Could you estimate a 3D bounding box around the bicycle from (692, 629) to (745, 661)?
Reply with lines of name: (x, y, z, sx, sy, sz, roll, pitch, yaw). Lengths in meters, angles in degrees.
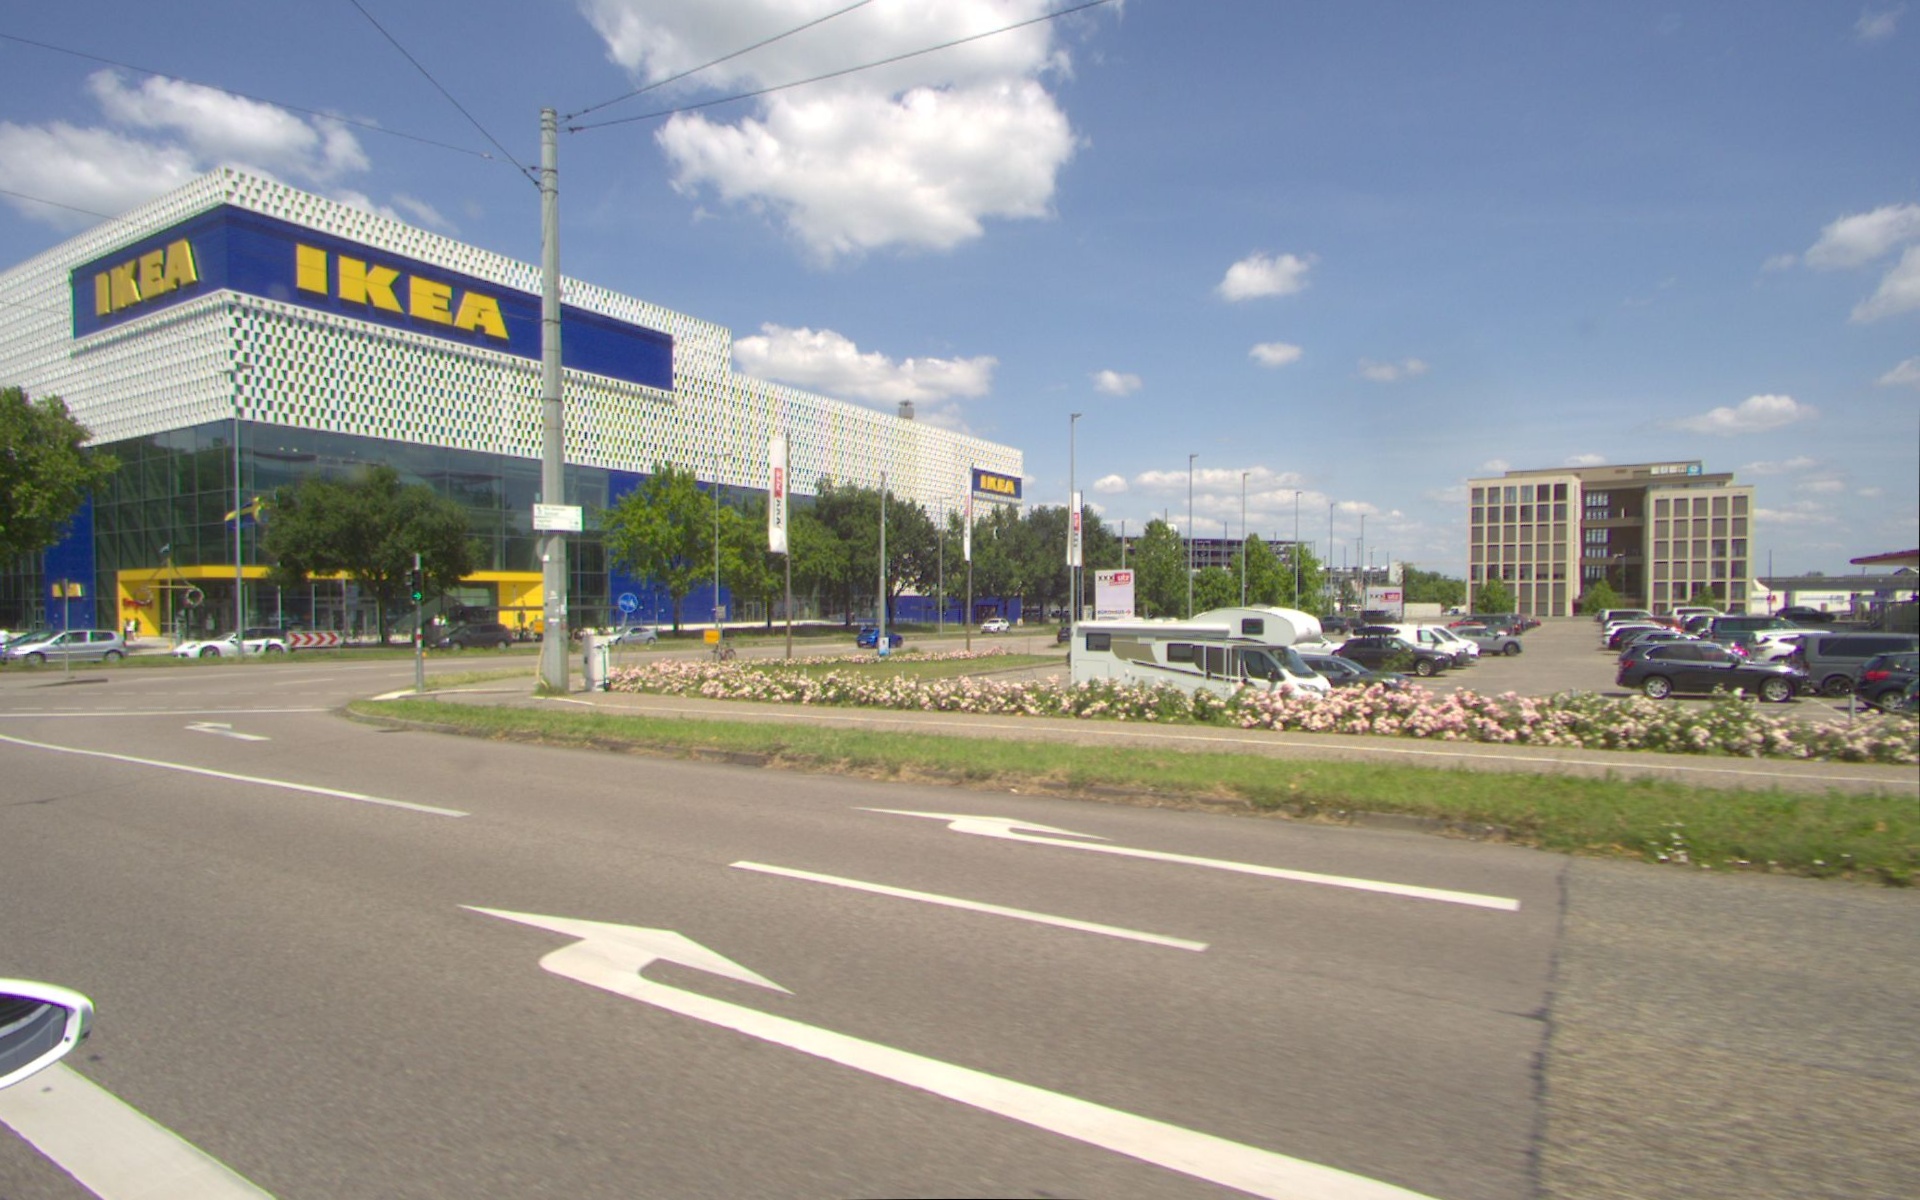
bicycle: (-11.604, 2.160, 48.204, 0.975, 1.500, 2.415, 0, -1, 36)

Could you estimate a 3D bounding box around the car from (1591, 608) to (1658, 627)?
car: (59.135, 1.580, 89.224, 4.929, 1.631, 1.990, -1, -1, 32)

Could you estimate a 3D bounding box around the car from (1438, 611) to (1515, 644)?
car: (38.169, 2.027, 73.994, 4.929, 2.333, 1.990, -1, -1, 32)

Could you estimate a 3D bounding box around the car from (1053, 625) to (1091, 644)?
car: (9.661, 2.933, 86.423, 1.740, 1.546, 4.080, 0, -1, 31)

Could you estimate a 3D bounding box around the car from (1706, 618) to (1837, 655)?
car: (42.890, 1.911, 53.074, 5.105, 1.889, 1.991, -1, -1, 30)

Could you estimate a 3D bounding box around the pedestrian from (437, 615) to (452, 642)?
pedestrian: (-38.572, 2.126, 74.896, 0.813, 2.040, 0.709, 0, -1, 34)

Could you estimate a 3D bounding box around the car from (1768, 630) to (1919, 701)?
car: (28.056, 1.939, 30.251, 5.455, 2.039, 1.990, -1, -1, 32)

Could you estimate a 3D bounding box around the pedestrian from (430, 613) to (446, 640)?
pedestrian: (-39.392, 1.995, 75.550, 0.813, 2.040, 0.709, 0, -1, 34)

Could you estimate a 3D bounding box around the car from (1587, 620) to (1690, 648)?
car: (39.733, 1.980, 58.813, 4.929, 1.631, 1.990, -1, -1, 32)

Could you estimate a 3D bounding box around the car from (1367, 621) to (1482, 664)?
car: (22.681, 2.029, 48.983, 4.929, 2.033, 1.990, -1, -1, 32)

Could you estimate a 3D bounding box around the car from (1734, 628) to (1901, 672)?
car: (34.925, 2.006, 40.982, 4.929, 1.672, 1.990, -1, -1, 32)

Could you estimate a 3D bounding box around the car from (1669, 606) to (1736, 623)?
car: (69.772, 1.377, 94.195, 4.929, 1.631, 1.990, -1, -1, 32)

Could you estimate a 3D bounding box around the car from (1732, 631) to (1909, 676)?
car: (33.153, 2.033, 38.800, 4.929, 1.631, 1.990, -1, -1, 32)

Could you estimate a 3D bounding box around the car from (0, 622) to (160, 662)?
car: (-35.201, 1.697, 40.159, 1.973, 1.505, 4.486, 0, -2, 35)

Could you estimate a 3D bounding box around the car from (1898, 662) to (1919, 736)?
car: (23.680, 2.247, 21.924, 4.241, 1.517, 1.988, -1, 2, 32)

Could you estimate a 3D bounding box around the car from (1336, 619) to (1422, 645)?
car: (26.605, 2.010, 63.592, 4.921, 1.631, 1.993, 0, -1, 27)

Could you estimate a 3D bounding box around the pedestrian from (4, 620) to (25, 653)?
pedestrian: (-48.854, 1.882, 51.741, 0.699, 1.656, 0.607, 1, -1, -39)

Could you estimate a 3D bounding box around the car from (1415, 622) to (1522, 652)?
car: (28.081, 2.047, 55.390, 4.903, 1.631, 2.001, 0, -1, 2)

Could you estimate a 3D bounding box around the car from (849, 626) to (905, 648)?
car: (-5.915, 2.649, 71.749, 1.818, 1.473, 3.978, 0, -2, 35)

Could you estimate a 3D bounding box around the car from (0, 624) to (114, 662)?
car: (-37.994, 1.783, 41.734, 1.973, 1.505, 3.780, 0, -2, 35)

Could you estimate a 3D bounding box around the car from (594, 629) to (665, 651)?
car: (-23.365, 2.865, 71.012, 1.973, 1.505, 4.486, 0, -2, 35)

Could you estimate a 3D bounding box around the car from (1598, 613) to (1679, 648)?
car: (41.160, 1.839, 60.834, 3.942, 2.039, 1.990, -1, -1, 32)

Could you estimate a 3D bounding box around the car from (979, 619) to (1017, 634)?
car: (4.145, 2.912, 108.292, 1.973, 1.505, 4.486, 0, -2, 35)

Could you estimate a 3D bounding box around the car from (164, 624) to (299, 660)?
car: (-32.484, 1.891, 44.749, 1.973, 1.505, 4.486, 0, -2, 35)

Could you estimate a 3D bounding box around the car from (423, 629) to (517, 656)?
car: (-28.171, 2.469, 57.727, 1.973, 1.505, 4.486, 0, -2, 35)

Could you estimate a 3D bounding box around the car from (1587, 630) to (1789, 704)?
car: (22.438, 2.007, 31.151, 4.929, 2.040, 1.989, -1, 1, 32)

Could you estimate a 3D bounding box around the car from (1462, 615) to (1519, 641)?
car: (42.275, 2.216, 79.783, 3.942, 2.040, 1.990, -1, -1, 32)

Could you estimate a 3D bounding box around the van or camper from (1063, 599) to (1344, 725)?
van or camper: (6.541, 1.583, 27.499, 7.128, 3.059, 2.500, -1, -1, 36)

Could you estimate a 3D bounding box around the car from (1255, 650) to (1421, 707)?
car: (12.104, 2.455, 32.145, 4.701, 1.558, 1.989, -1, 0, 32)

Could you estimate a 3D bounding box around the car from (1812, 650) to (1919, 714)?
car: (25.628, 2.138, 26.108, 4.929, 1.570, 1.990, -1, -1, 32)

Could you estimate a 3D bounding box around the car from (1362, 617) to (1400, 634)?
car: (50.082, 3.033, 119.169, 4.068, 2.039, 1.479, -1, -1, 32)

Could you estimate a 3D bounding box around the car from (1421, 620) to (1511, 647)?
car: (32.027, 2.091, 63.386, 4.929, 1.631, 1.990, -1, -1, 32)

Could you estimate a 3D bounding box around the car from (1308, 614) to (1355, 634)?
car: (34.733, 2.273, 93.635, 3.942, 1.863, 1.819, -1, -1, 32)

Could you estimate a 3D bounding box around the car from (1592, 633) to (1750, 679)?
car: (27.832, 2.167, 39.443, 4.929, 1.632, 1.989, -1, 0, 32)

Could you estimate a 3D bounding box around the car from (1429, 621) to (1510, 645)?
car: (35.545, 2.262, 69.888, 4.929, 1.631, 1.990, -1, -1, 32)

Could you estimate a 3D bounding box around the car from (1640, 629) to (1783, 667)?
car: (33.766, 2.124, 45.192, 4.927, 1.631, 1.991, -1, -1, 31)

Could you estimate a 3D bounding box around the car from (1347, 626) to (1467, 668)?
car: (20.967, 2.183, 47.046, 4.929, 1.876, 1.990, -1, -1, 32)

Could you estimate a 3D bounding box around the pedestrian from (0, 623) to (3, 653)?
pedestrian: (-49.558, 1.943, 51.313, 0.699, 1.564, 0.672, 1, -1, -39)

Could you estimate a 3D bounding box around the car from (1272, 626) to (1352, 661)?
car: (19.219, 2.369, 54.609, 3.935, 1.839, 1.994, -1, -1, 26)

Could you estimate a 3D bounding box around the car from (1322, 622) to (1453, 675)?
car: (18.272, 2.038, 42.898, 4.929, 2.162, 1.990, -1, -1, 32)
